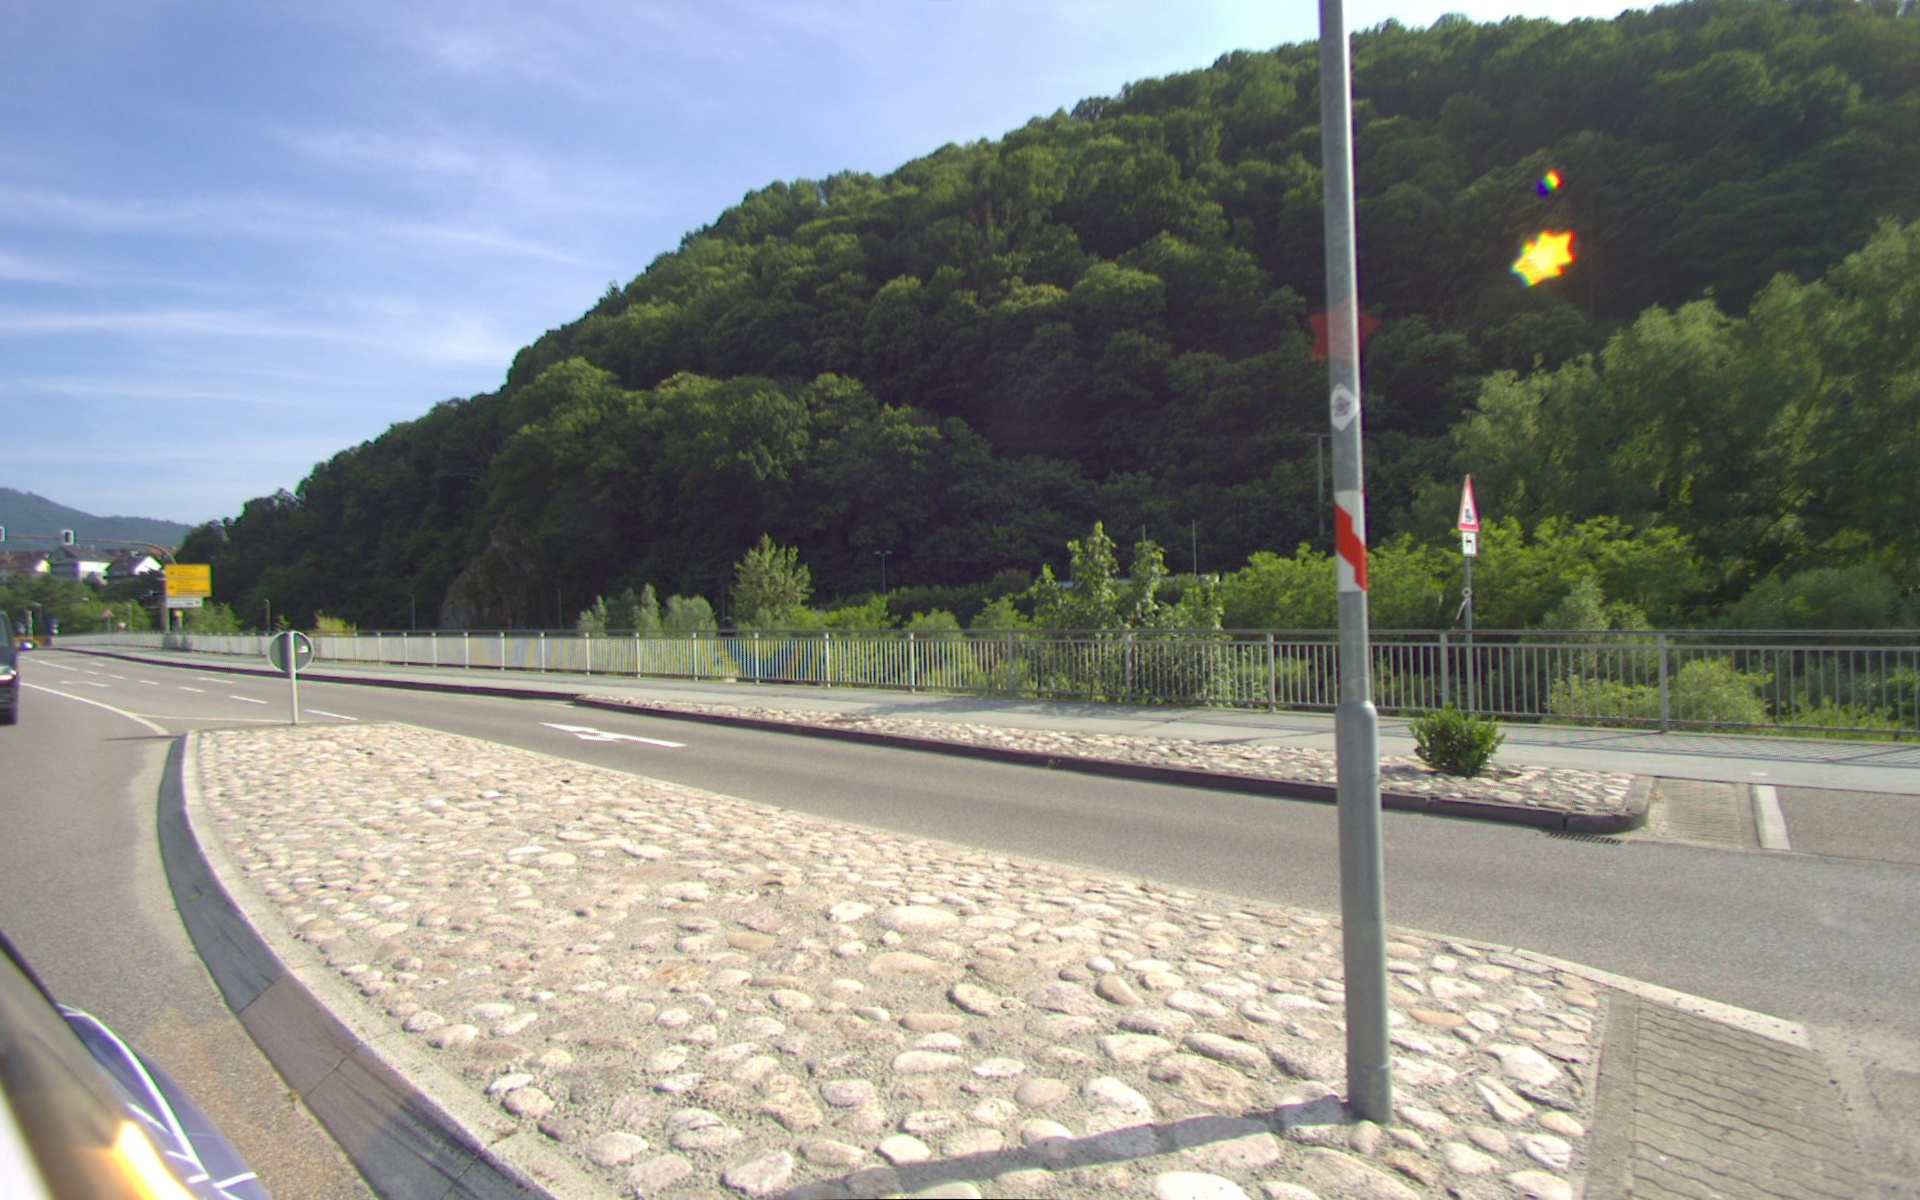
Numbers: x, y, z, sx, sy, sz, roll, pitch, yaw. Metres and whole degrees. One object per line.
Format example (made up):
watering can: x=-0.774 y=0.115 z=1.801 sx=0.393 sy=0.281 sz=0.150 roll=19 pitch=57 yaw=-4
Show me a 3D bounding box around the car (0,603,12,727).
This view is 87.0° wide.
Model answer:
car: x=-17.349 y=1.073 z=17.141 sx=1.838 sy=1.962 sz=4.642 roll=1 pitch=-3 yaw=-43
